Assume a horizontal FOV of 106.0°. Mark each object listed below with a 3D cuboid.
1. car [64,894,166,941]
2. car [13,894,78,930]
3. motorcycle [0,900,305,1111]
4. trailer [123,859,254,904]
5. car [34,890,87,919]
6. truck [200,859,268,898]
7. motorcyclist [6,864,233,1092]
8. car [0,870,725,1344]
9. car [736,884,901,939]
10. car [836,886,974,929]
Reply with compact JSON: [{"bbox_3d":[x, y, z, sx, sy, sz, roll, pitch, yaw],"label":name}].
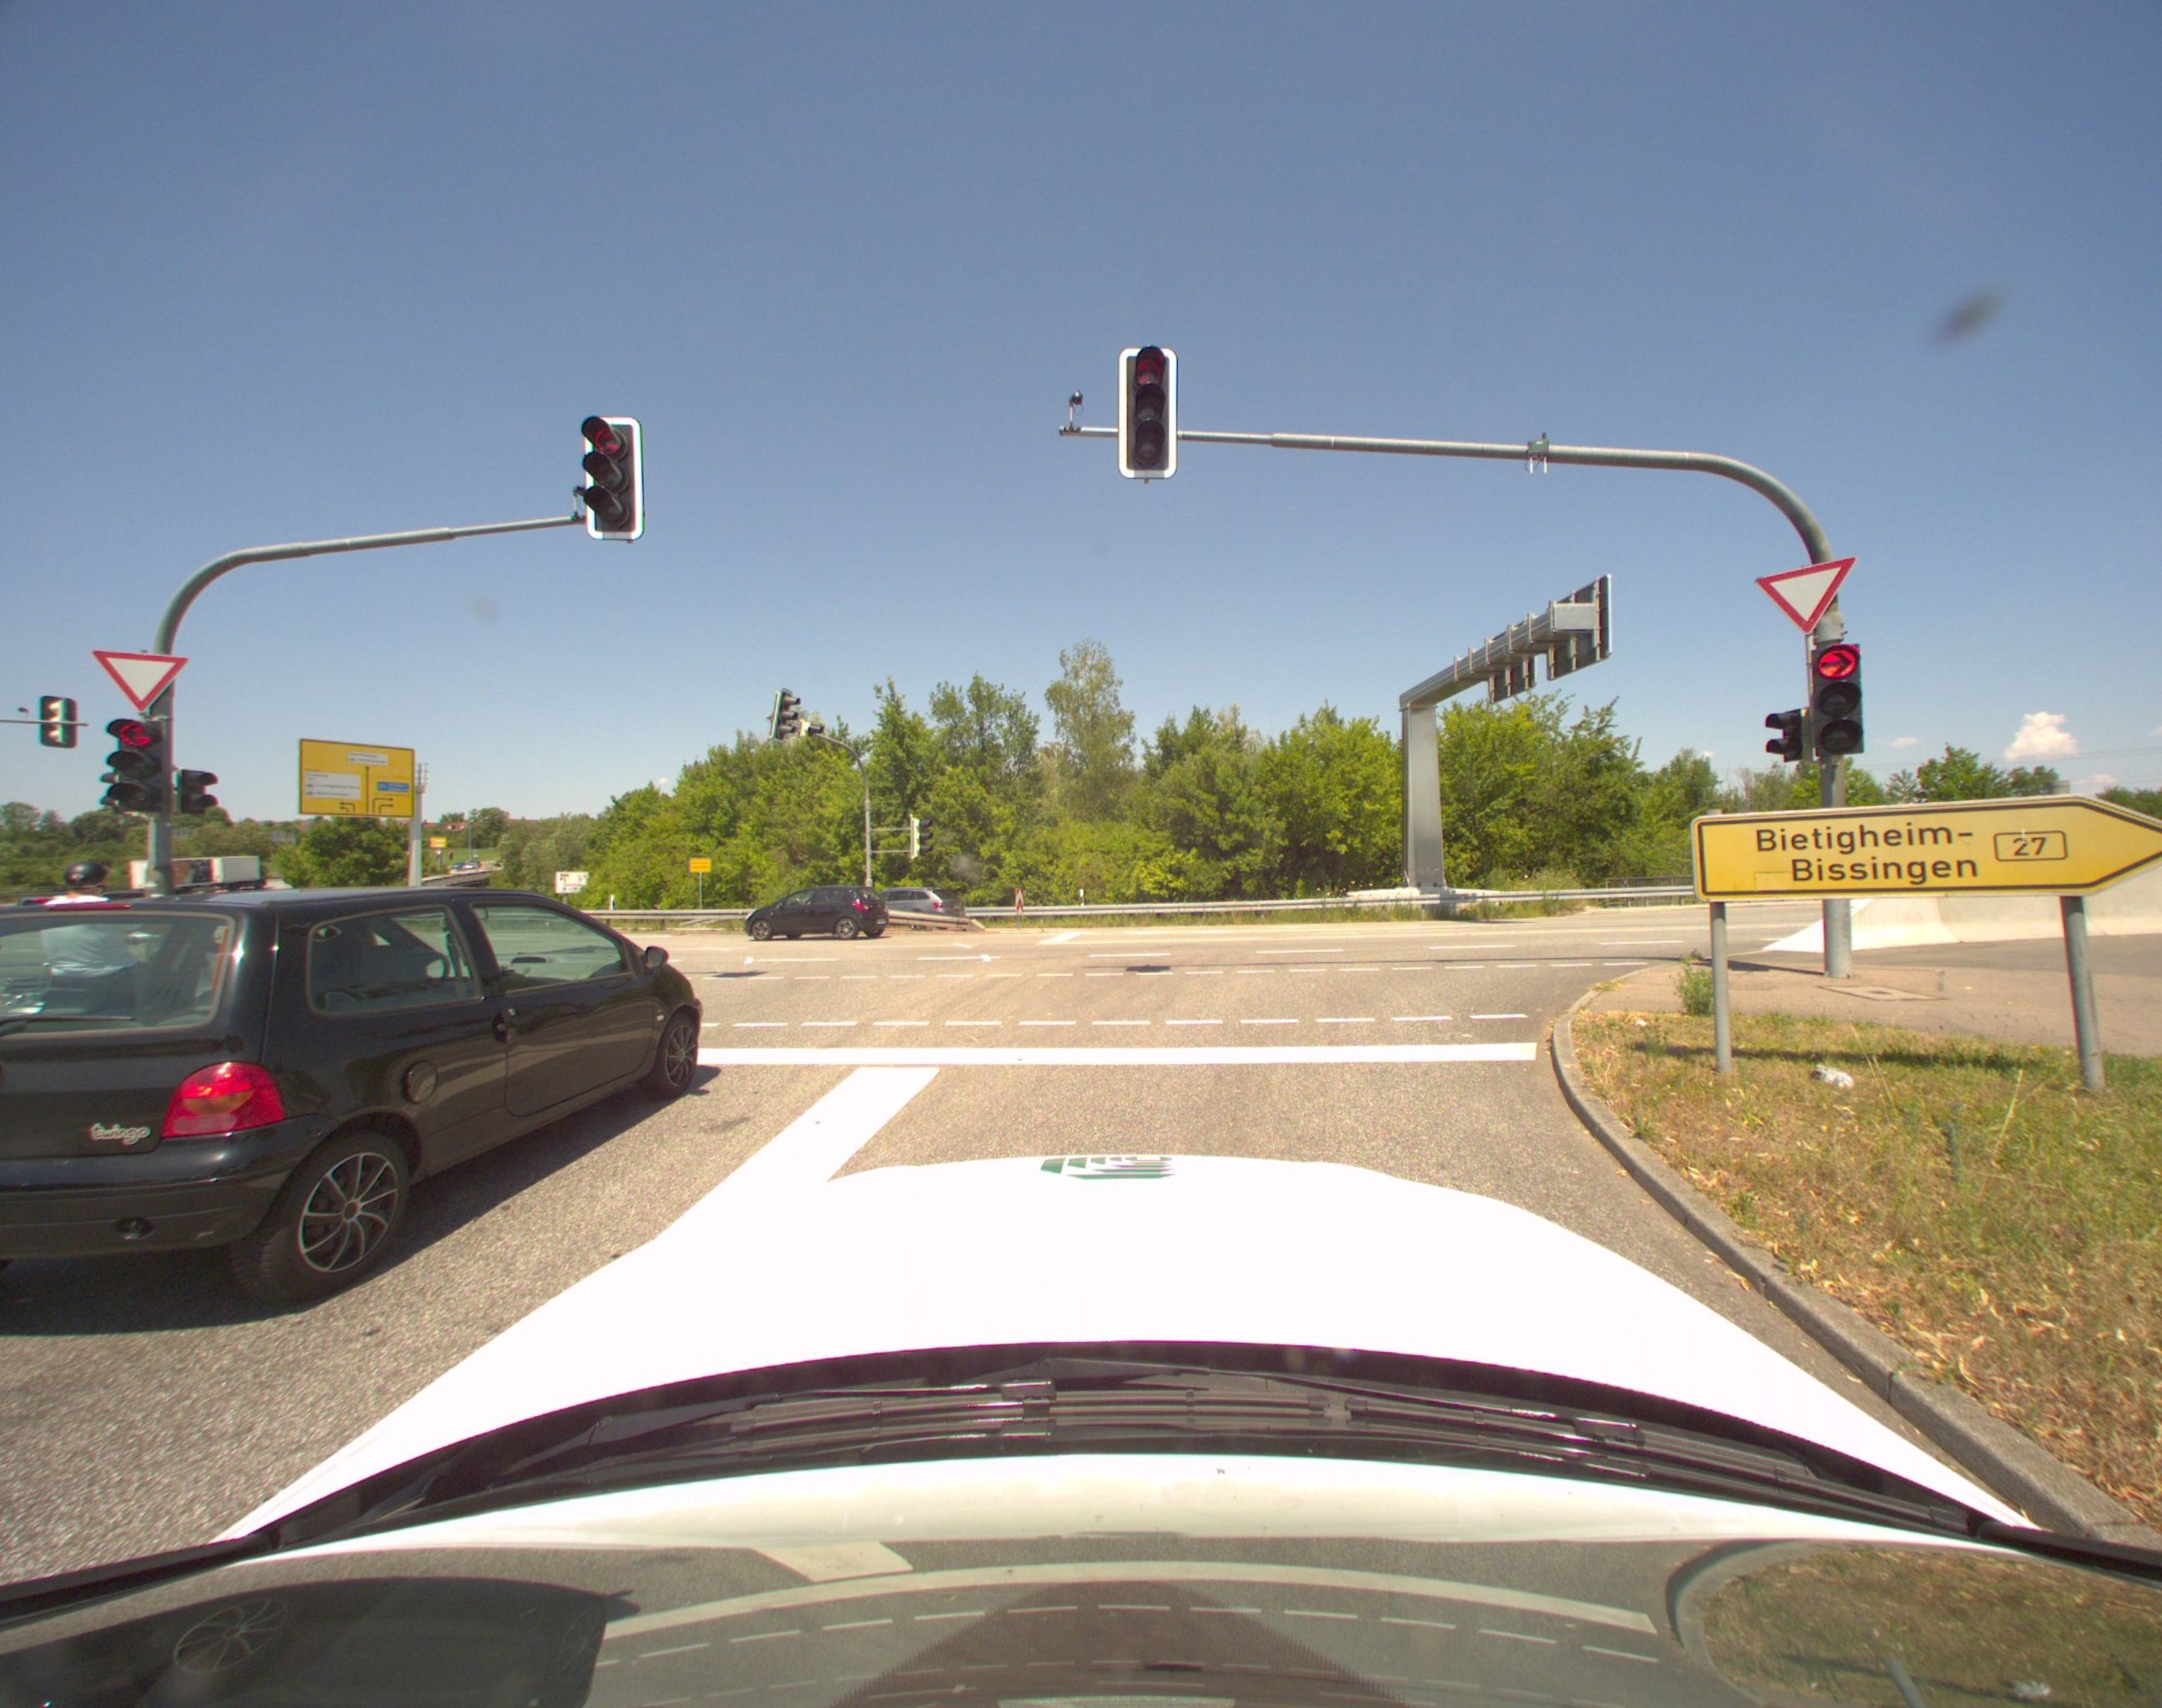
[{"bbox_3d":[-38.899,2.545,32.795,3.949,1.732,1.897,-2,-2,29],"label":"car"},{"bbox_3d":[-53.851,2.982,42.328,3.948,1.622,1.895,-1,0,36],"label":"car"},{"bbox_3d":[-6.972,0.997,6.025,0.574,1.238,1.940,0,-2,0],"label":"motorcycle"},{"bbox_3d":[-95.811,2.774,88.008,3.245,4.248,15.294,0,0,-22],"label":"trailer"},{"bbox_3d":[-66.900,3.262,53.449,3.949,1.665,1.946,0,0,42],"label":"car"},{"bbox_3d":[-98.687,2.775,95.031,3.245,4.248,6.191,0,0,-22],"label":"truck"},{"bbox_3d":[-6.985,0.850,5.969,0.609,1.540,0.846,0,-2,0],"label":"motorcyclist"},{"bbox_3d":[-3.366,0.819,4.166,1.614,1.407,3.300,-1,0,0],"label":"car"},{"bbox_3d":[-7.189,1.567,22.477,3.891,1.434,1.816,-1,-3,10],"label":"car"},{"bbox_3d":[-6.142,1.878,28.530,4.364,1.434,1.819,-1,-4,18],"label":"car"}]
